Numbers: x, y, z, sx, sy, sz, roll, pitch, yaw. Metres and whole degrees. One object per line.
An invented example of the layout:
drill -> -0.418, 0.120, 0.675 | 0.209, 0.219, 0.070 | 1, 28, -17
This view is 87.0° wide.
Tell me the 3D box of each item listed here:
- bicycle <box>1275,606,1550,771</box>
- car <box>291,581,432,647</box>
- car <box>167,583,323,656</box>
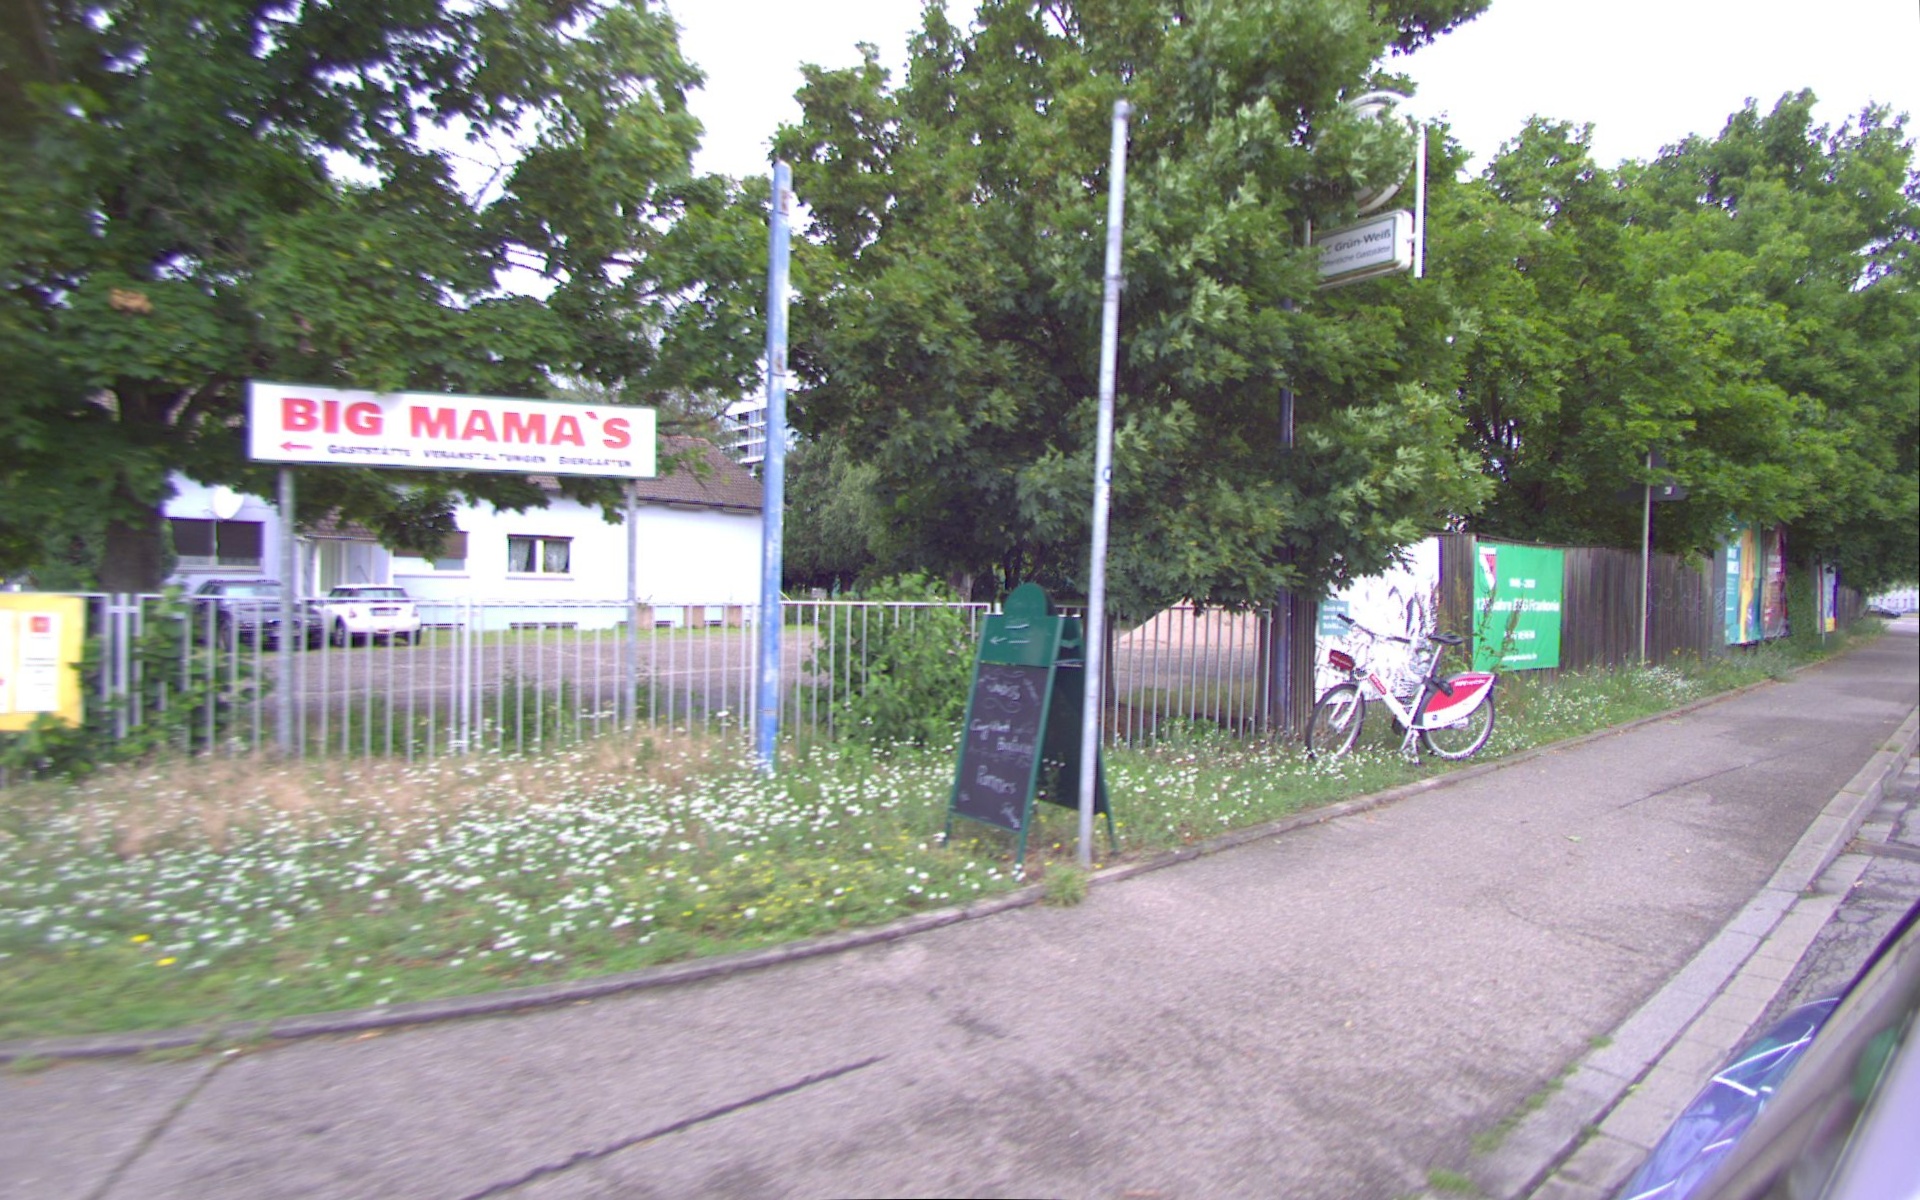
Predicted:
bicycle -> 3.453, 0.627, 7.731 | 1.911, 1.125, 0.800 | 1, 0, -22
car -> -14.296, 0.288, 24.073 | 4.290, 1.405, 1.806 | 1, 0, 44
car -> -15.471, 0.364, 21.824 | 3.982, 1.428, 1.841 | 1, 0, 41
